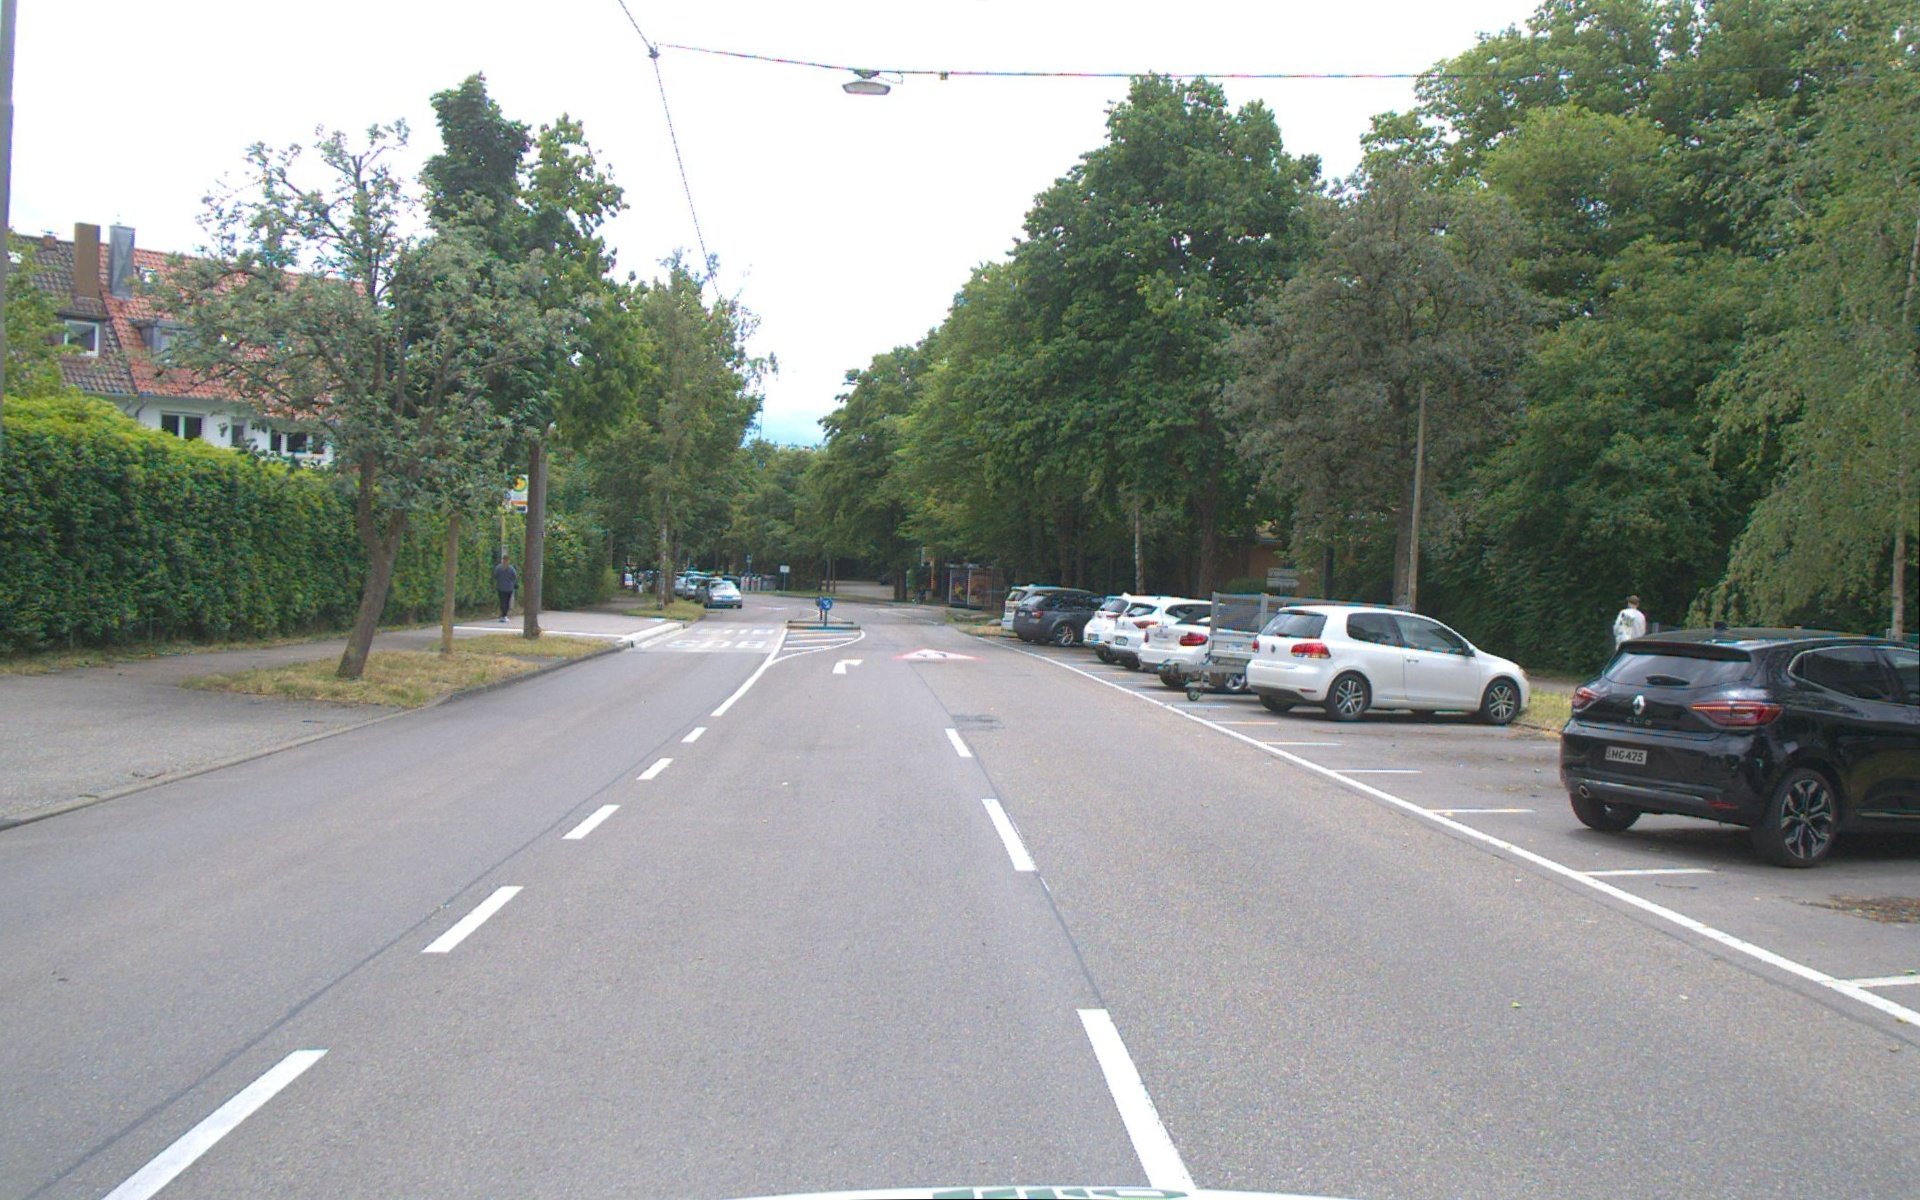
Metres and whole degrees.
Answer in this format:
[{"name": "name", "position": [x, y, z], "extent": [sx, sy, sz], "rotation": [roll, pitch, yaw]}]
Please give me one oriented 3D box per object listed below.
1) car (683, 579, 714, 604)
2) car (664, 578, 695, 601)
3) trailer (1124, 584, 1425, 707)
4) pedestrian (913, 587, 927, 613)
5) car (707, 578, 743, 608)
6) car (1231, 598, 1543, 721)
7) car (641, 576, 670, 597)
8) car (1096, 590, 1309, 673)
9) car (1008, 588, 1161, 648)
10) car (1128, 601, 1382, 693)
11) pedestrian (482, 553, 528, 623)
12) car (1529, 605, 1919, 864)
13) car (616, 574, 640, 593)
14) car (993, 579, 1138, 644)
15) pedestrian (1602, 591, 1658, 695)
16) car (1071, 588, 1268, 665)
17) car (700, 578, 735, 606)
[{"name": "car", "position": [-16.493, -0.560, 104.548], "extent": [1.832, 1.496, 3.993], "rotation": [2, 0, -8]}, {"name": "car", "position": [-19.574, -0.747, 115.317], "extent": [1.835, 1.496, 3.986], "rotation": [2, 0, -14]}, {"name": "trailer", "position": [4.688, 0.675, 24.672], "extent": [4.094, 1.600, 1.702], "rotation": [3, 0, -21]}, {"name": "pedestrian", "position": [-2.475, 0.029, 103.191], "extent": [0.725, 1.597, 0.652], "rotation": [2, 0, 10]}, {"name": "car", "position": [-12.391, -0.366, 87.263], "extent": [1.832, 1.496, 3.993], "rotation": [2, 0, -8]}, {"name": "car", "position": [5.809, 0.813, 22.525], "extent": [3.831, 1.474, 1.732], "rotation": [3, 0, -23]}, {"name": "car", "position": [-23.017, -1.035, 124.910], "extent": [1.835, 1.496, 3.986], "rotation": [2, 0, -14]}, {"name": "car", "position": [4.853, 0.629, 33.152], "extent": [3.829, 1.454, 1.733], "rotation": [3, 0, -21]}, {"name": "car", "position": [3.431, 0.506, 45.690], "extent": [3.829, 1.454, 1.733], "rotation": [3, 0, -21]}, {"name": "car", "position": [4.881, 0.779, 27.366], "extent": [3.836, 1.332, 1.730], "rotation": [3, 0, -26]}, {"name": "pedestrian", "position": [-11.811, -0.311, 42.991], "extent": [0.955, 1.760, 0.848], "rotation": [2, 0, -5]}, {"name": "car", "position": [6.056, 0.874, 11.390], "extent": [3.835, 1.474, 1.830], "rotation": [3, 0, -25]}, {"name": "car", "position": [-28.193, -1.422, 140.383], "extent": [1.835, 1.496, 3.986], "rotation": [2, 0, -14]}, {"name": "car", "position": [3.083, 0.326, 48.469], "extent": [3.829, 1.697, 1.733], "rotation": [3, 0, -21]}, {"name": "pedestrian", "position": [11.170, 0.707, 27.583], "extent": [0.636, 1.700, 0.744], "rotation": [2, 0, 4]}, {"name": "car", "position": [4.514, 0.564, 35.718], "extent": [3.829, 1.454, 1.733], "rotation": [3, 0, -21]}, {"name": "car", "position": [-13.596, -0.460, 92.805], "extent": [1.832, 1.496, 3.993], "rotation": [2, 0, -8]}]
